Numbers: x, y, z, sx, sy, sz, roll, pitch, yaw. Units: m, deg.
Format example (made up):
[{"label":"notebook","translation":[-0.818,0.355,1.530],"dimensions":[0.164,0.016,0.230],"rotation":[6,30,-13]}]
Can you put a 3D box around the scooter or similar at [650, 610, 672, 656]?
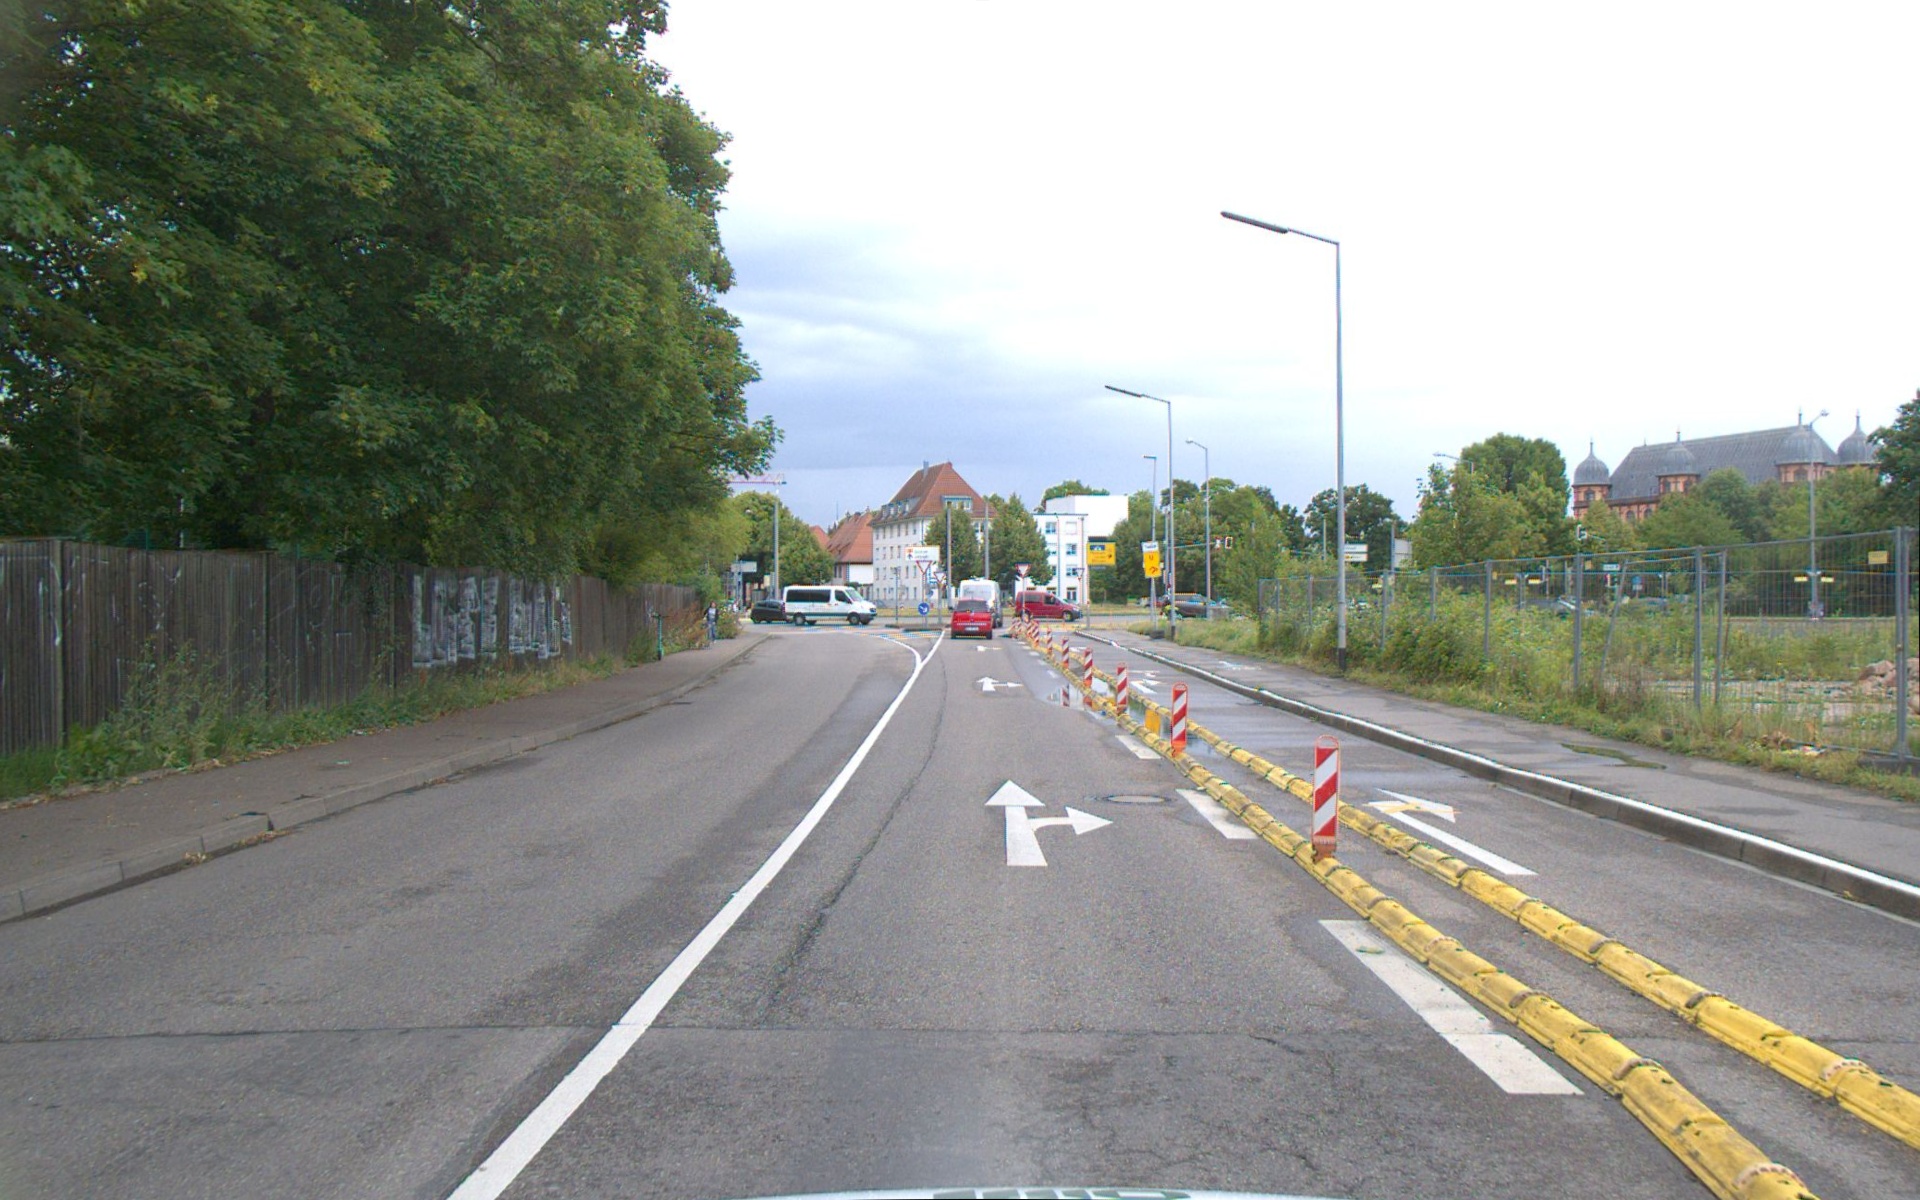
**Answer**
[{"label":"scooter or similar","translation":[-7.877,0.860,43.599],"dimensions":[0.414,1.191,1.302],"rotation":[-1,0,-5]}]

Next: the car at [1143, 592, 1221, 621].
[{"label":"car","translation":[14.110,0.430,105.282],"dimensions":[4.528,1.827,2.102],"rotation":[-1,0,43]}]

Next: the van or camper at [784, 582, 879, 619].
[{"label":"van or camper","translation":[-7.794,0.014,100.390],"dimensions":[5.417,2.152,2.001],"rotation":[-1,0,17]}]

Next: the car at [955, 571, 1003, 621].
[{"label":"car","translation":[1.073,-0.218,90.061],"dimensions":[2.148,2.584,4.966],"rotation":[1,0,6]}]

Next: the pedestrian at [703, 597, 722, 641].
[{"label":"pedestrian","translation":[-8.854,0.692,59.224],"dimensions":[0.600,1.556,0.723],"rotation":[-1,0,-4]}]

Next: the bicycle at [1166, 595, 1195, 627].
[{"label":"bicycle","translation":[11.415,0.560,85.720],"dimensions":[1.446,1.640,0.606],"rotation":[-1,0,3]}]

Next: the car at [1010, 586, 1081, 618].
[{"label":"car","translation":[5.333,0.129,102.997],"dimensions":[4.105,1.951,2.117],"rotation":[-1,0,11]}]

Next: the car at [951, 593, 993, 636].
[{"label":"car","translation":[0.475,0.554,66.433],"dimensions":[1.639,1.669,3.627],"rotation":[1,0,0]}]
